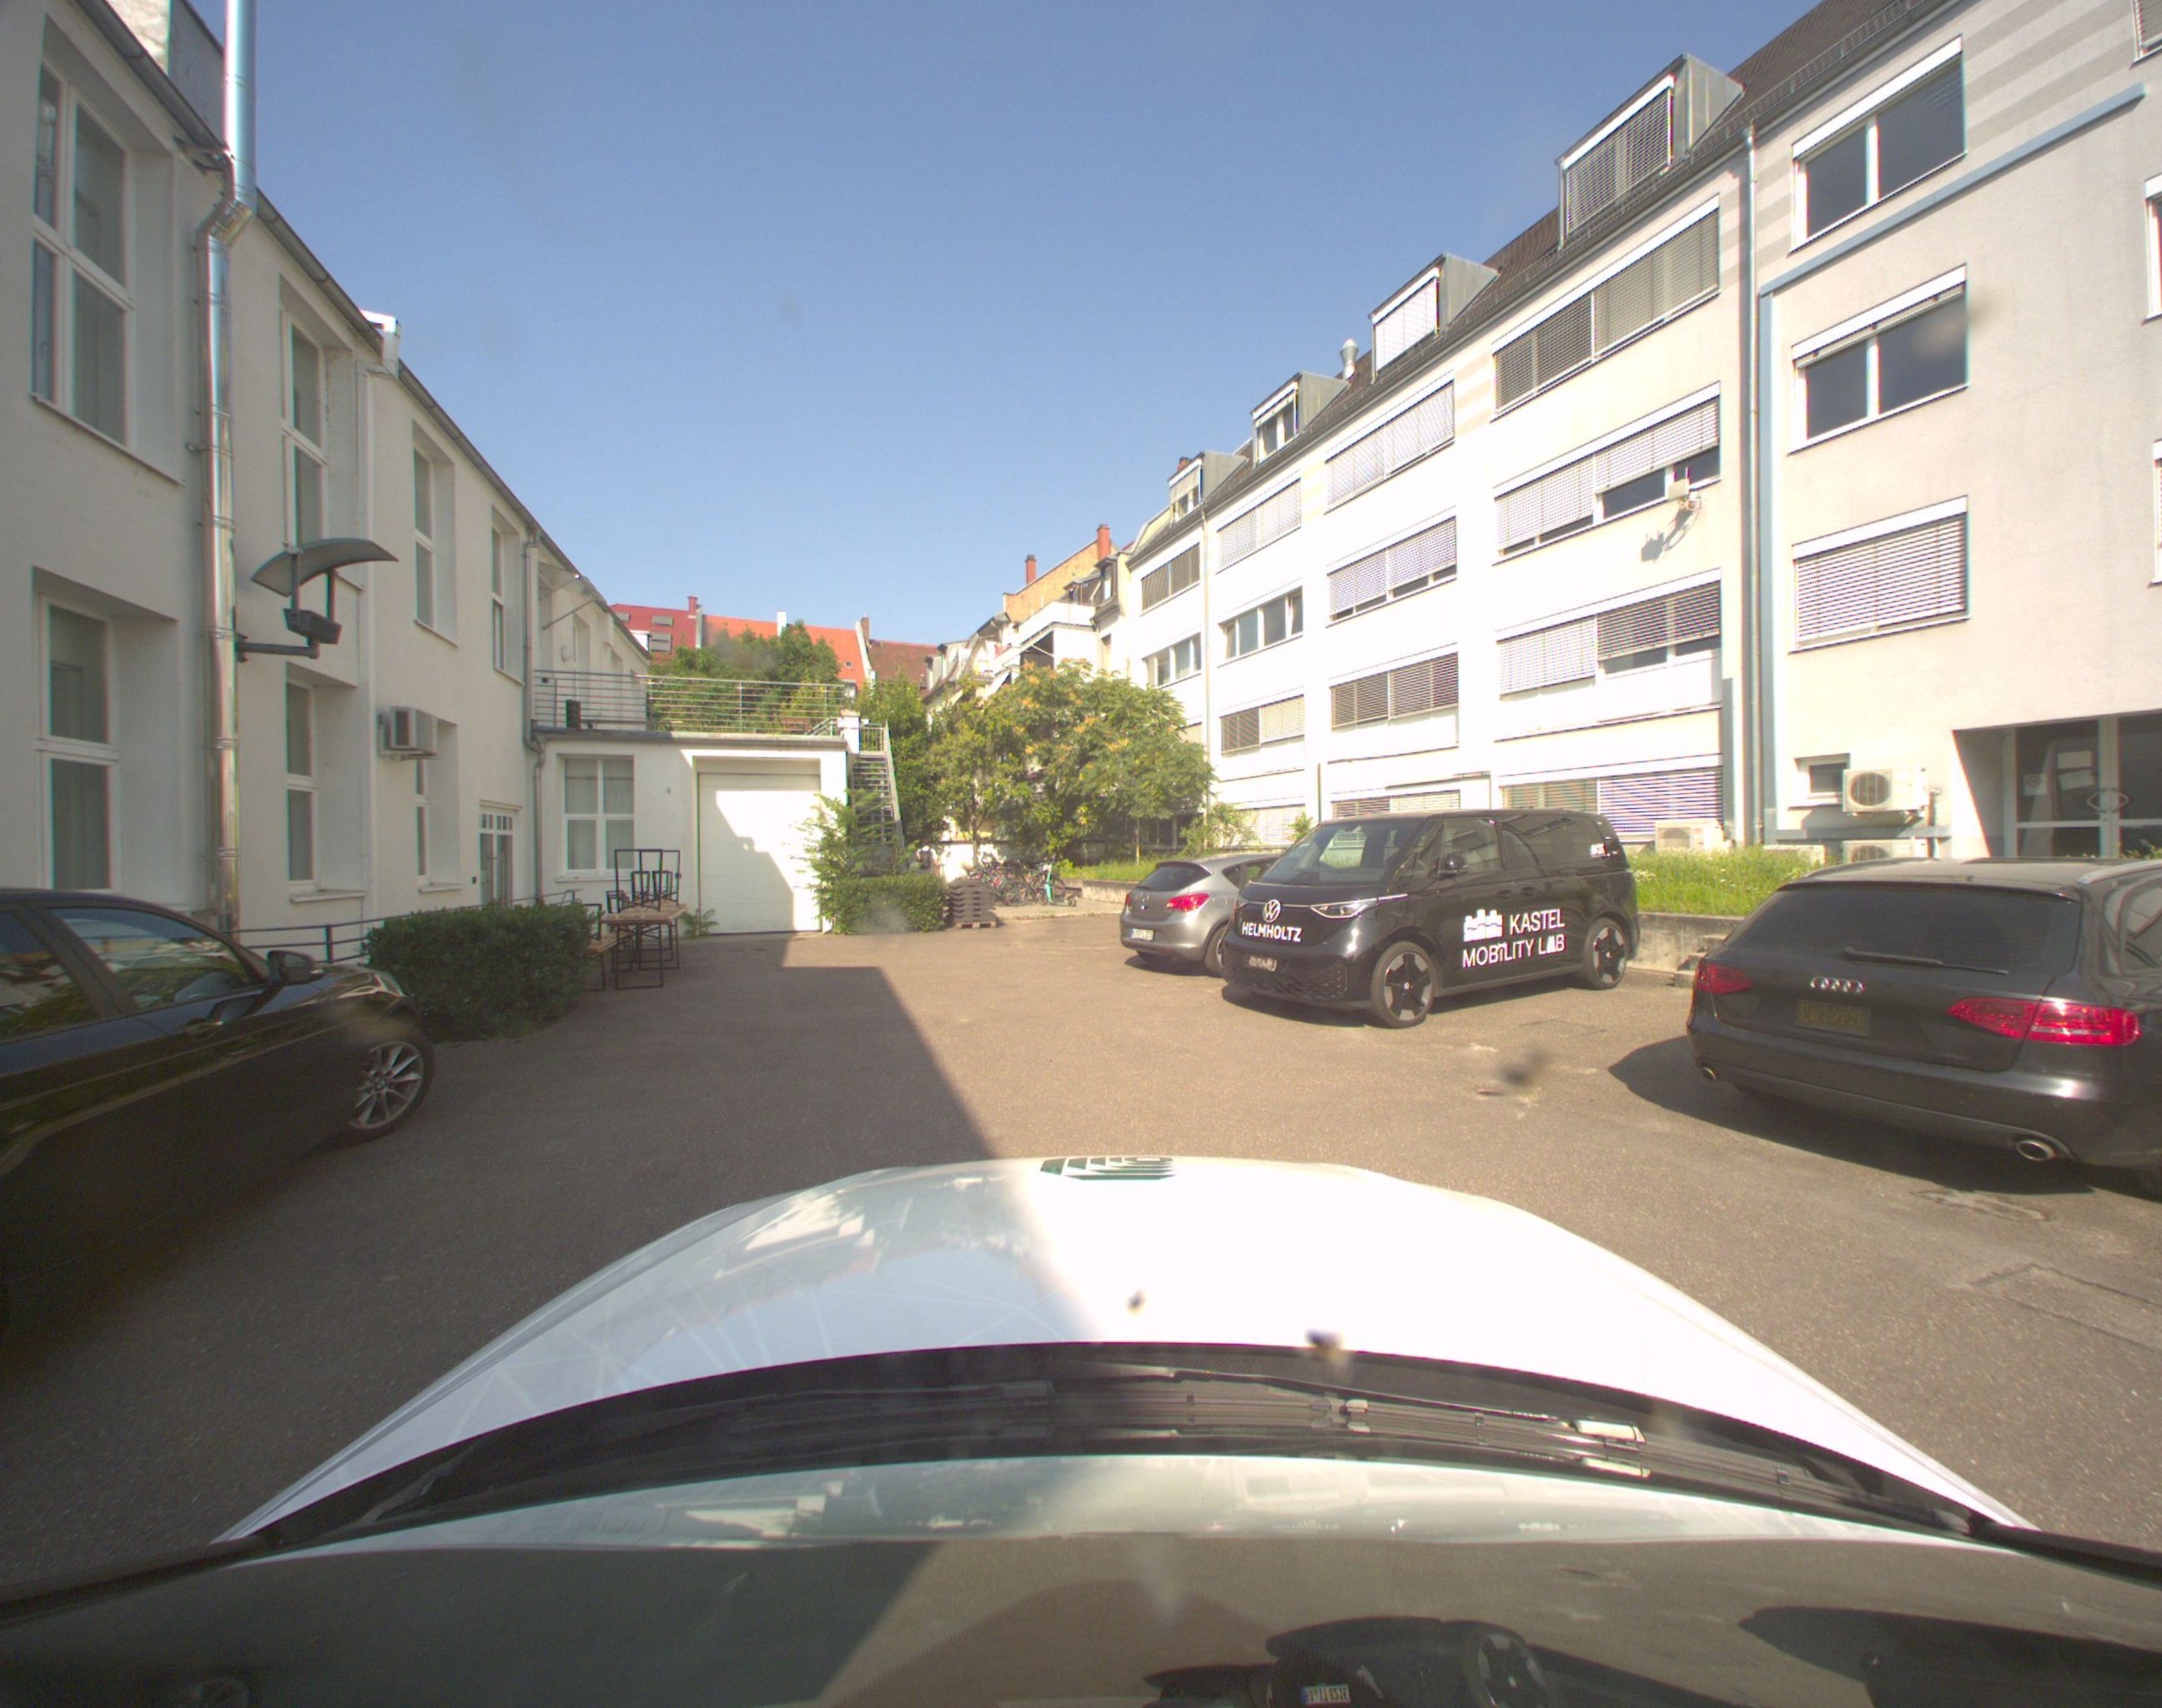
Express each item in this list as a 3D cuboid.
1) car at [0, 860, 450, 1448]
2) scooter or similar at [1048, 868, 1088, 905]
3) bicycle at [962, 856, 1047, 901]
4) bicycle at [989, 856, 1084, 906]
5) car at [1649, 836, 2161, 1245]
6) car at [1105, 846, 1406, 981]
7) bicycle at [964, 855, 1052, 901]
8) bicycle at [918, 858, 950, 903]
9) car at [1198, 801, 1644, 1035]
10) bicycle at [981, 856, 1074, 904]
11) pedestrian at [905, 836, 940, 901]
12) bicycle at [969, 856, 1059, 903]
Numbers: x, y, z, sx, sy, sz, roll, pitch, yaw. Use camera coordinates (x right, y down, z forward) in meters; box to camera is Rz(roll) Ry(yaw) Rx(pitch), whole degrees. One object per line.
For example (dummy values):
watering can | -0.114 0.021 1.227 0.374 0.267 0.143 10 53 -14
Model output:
car | -3.856 0.755 2.591 1.799 1.428 4.107 0 0 -21
scooter or similar | -0.345 0.821 20.811 0.986 0.924 0.362 0 0 34
bicycle | -2.210 0.686 23.575 2.418 1.246 0.523 0 0 -19
bicycle | -1.141 0.671 20.992 2.418 1.246 0.523 0 0 -19
car | 5.428 0.644 4.478 4.248 1.437 1.679 -1 1 -21
car | 2.413 0.661 10.966 3.923 1.466 1.646 -1 1 -32
bicycle | -2.048 0.668 22.879 2.418 1.246 0.523 0 0 -19
bicycle | -4.069 0.703 22.414 0.490 1.143 1.980 -2 1 -21
car | 3.545 0.457 8.347 4.360 1.859 1.897 -1 1 -28
bicycle | -1.403 0.674 21.616 2.418 1.246 0.523 0 0 -19
pedestrian | -4.378 0.394 22.443 0.861 1.771 0.607 0 0 -21
bicycle | -1.830 0.669 22.350 2.418 1.246 0.523 0 0 -19
